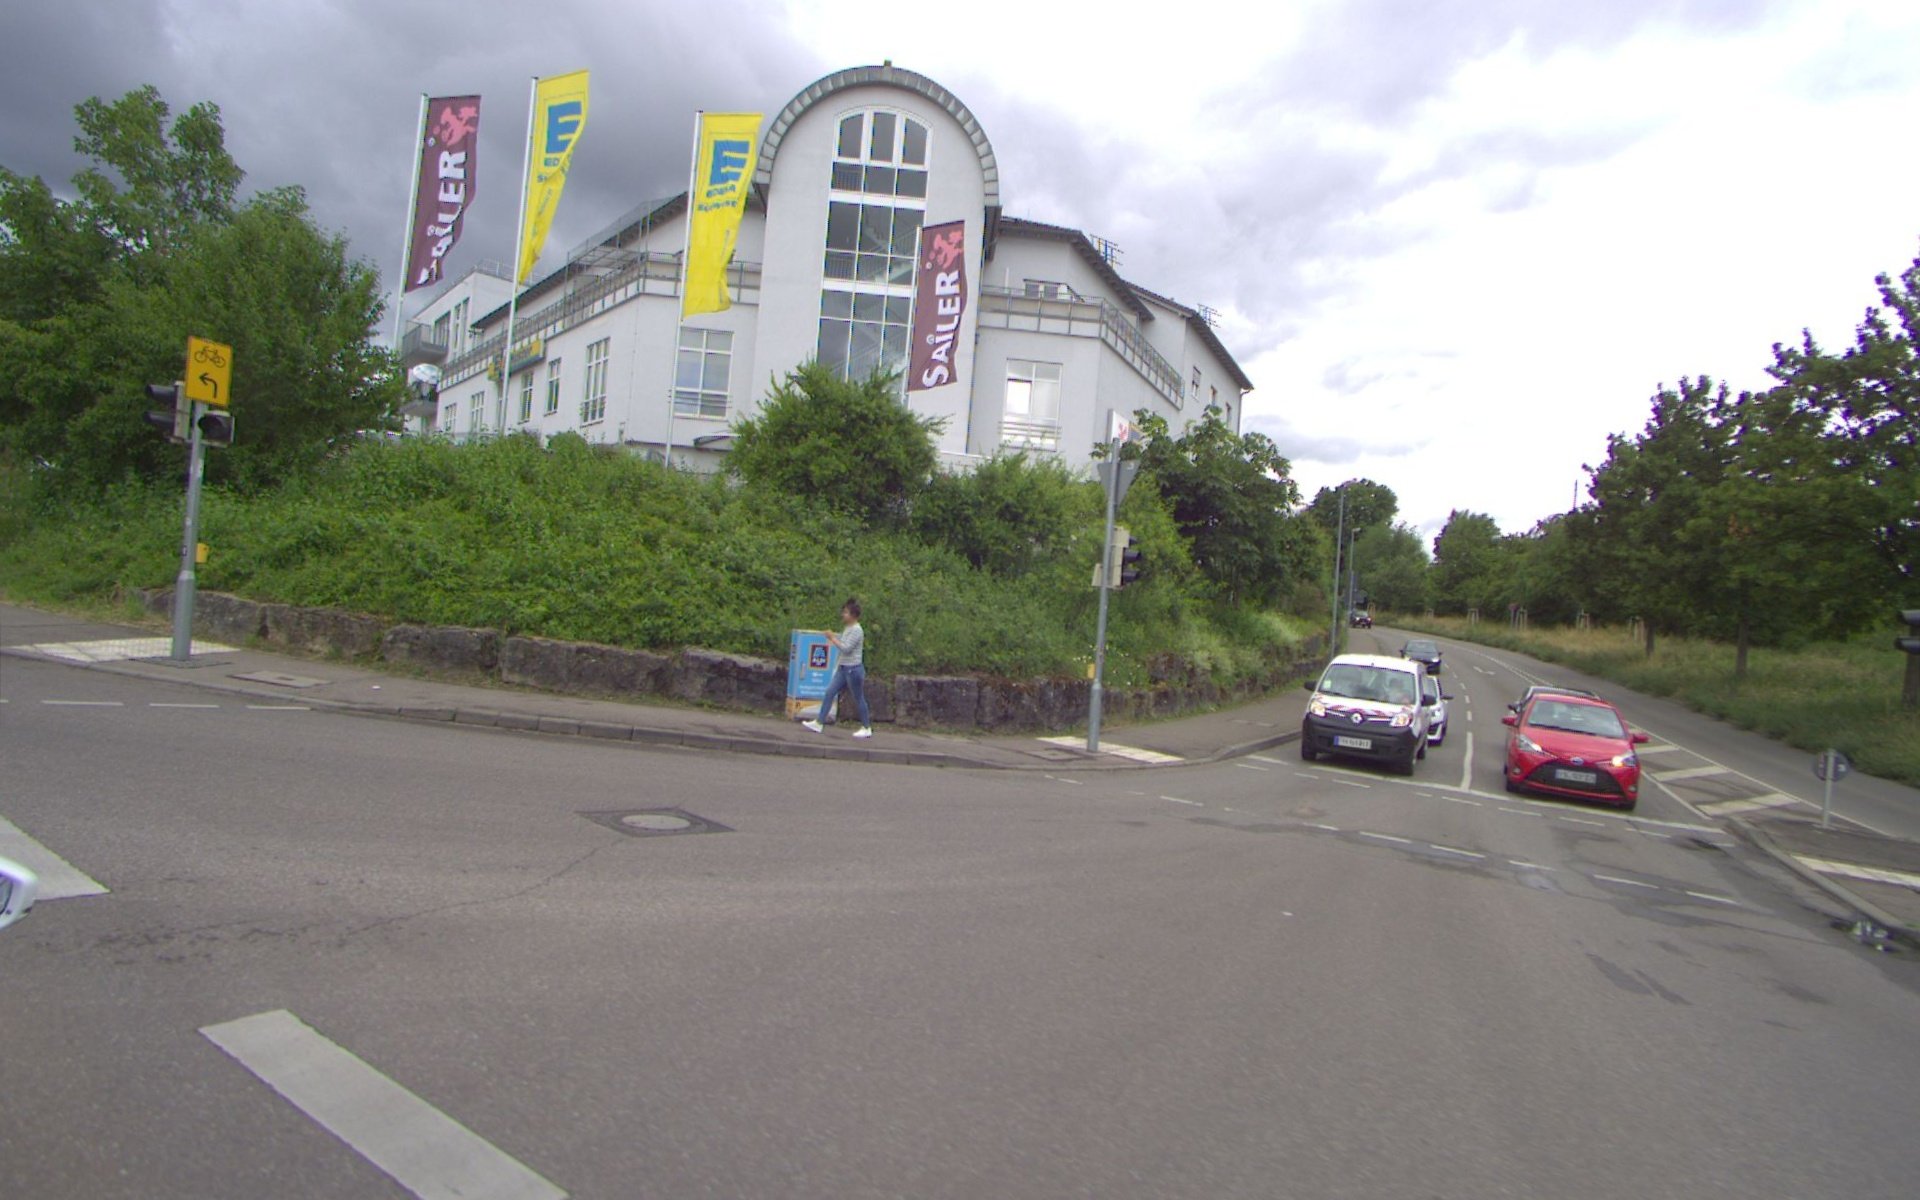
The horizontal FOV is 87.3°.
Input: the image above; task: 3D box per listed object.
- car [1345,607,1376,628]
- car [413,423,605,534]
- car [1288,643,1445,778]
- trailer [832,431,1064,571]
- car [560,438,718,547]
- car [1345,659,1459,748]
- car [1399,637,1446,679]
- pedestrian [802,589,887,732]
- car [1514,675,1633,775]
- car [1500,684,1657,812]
[{"bbox_3d":[38.612,1.666,97.071,1.787,1.834,4.561,5,2,11],"label":"car"},{"bbox_3d":[-10.530,-2.772,23.915,1.796,1.657,4.518,6,-2,10],"label":"car"},{"bbox_3d":[7.225,1.832,17.558,1.918,1.822,4.717,6,-1,28],"label":"car"},{"bbox_3d":[-0.385,-2.871,30.152,6.375,3.090,2.471,7,-2,-3],"label":"trailer"},{"bbox_3d":[-7.371,-2.411,23.631,1.796,1.657,4.518,7,-2,4],"label":"car"},{"bbox_3d":[9.989,2.233,22.584,1.932,1.474,3.823,6,2,28],"label":"car"},{"bbox_3d":[20.923,2.588,45.608,1.728,1.475,3.824,5,3,23],"label":"car"},{"bbox_3d":[-1.385,0.722,12.060,0.620,1.627,0.573,8,-2,-43],"label":"pedestrian"},{"bbox_3d":[12.636,2.484,20.957,1.730,1.474,4.303,6,2,28],"label":"car"},{"bbox_3d":[9.619,2.210,15.908,1.730,1.515,3.828,6,-1,28],"label":"car"}]
